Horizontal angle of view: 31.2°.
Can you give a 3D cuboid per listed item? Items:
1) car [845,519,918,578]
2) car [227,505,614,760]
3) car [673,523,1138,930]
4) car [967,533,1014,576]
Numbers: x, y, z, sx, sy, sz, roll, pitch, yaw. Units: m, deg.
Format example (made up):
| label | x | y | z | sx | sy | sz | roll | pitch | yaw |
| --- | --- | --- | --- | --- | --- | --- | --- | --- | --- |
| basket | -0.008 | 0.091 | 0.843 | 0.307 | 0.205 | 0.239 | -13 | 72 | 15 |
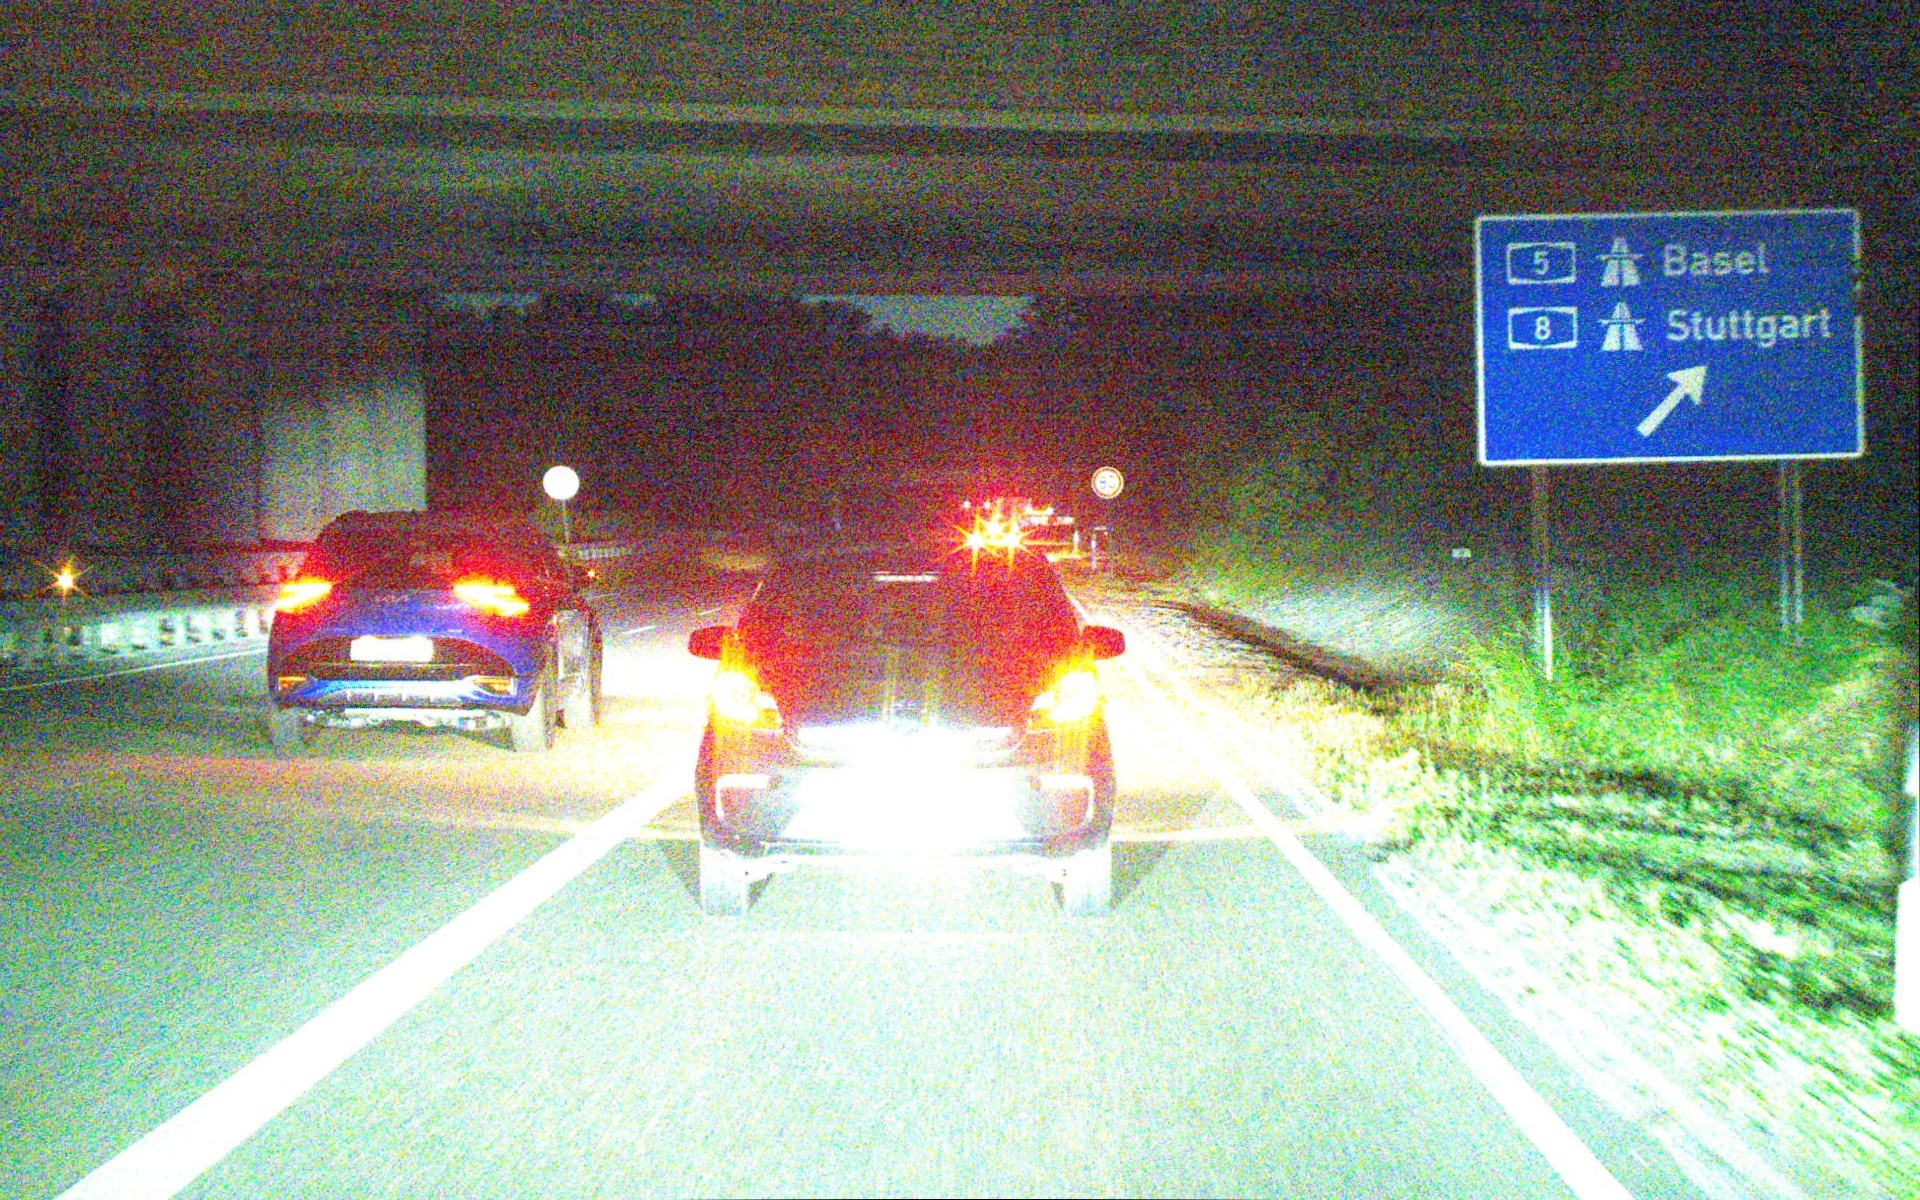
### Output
| label | x | y | z | sx | sy | sz | roll | pitch | yaw |
| --- | --- | --- | --- | --- | --- | --- | --- | --- | --- |
| car | -2.303 | -1.499 | 101.574 | 1.951 | 1.533 | 4.241 | -4 | 0 | 0 |
| car | -3.698 | 0.147 | 24.375 | 1.940 | 1.603 | 4.644 | 1 | 2 | 1 |
| car | -0.314 | 0.435 | 14.714 | 1.691 | 1.473 | 4.001 | 1 | 1 | -3 |
| car | 1.176 | -1.749 | 132.156 | 1.733 | 1.612 | 3.799 | 1 | 1 | 0 |
